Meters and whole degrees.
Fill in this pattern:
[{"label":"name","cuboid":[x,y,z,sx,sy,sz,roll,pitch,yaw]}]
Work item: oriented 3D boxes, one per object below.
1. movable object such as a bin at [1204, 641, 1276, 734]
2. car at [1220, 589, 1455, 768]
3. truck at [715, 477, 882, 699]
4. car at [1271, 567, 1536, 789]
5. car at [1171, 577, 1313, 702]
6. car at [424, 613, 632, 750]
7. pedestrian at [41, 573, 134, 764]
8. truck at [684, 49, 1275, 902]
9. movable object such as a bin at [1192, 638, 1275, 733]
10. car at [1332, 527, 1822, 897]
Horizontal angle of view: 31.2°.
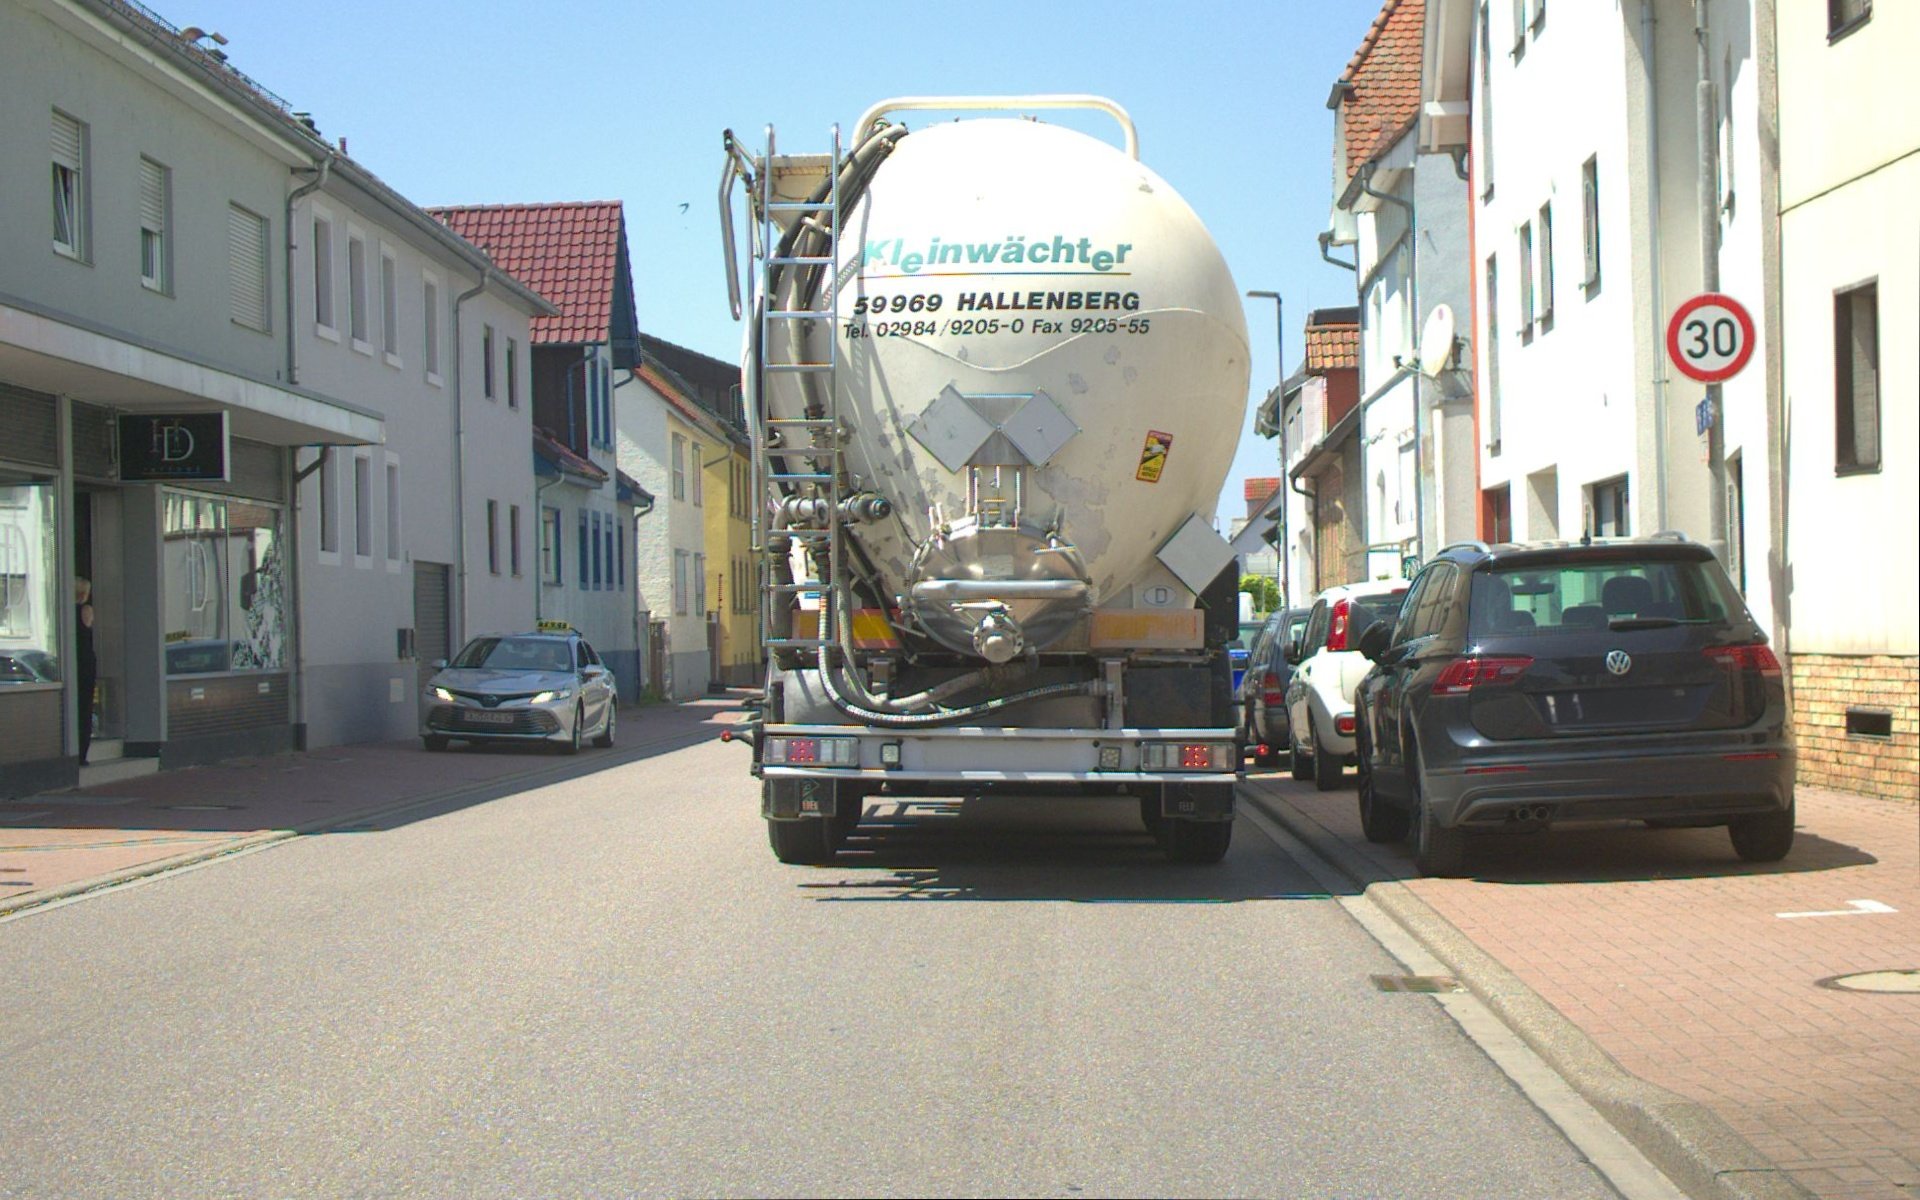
[{"label":"movable object such as a bin","cuboid":[3.259,1.014,39.998,0.656,1.031,0.683,-3,-1,18]},{"label":"car","cuboid":[3.440,0.701,32.068,1.700,1.442,4.836,-4,-1,2]},{"label":"truck","cuboid":[-3.060,-0.175,66.859,2.618,3.972,6.852,-3,-1,1]},{"label":"car","cuboid":[3.383,0.585,26.773,1.607,1.517,3.544,-4,-1,2]},{"label":"car","cuboid":[4.711,0.660,58.050,1.946,1.964,4.785,-2,0,0]},{"label":"car","cuboid":[-5.223,0.971,42.109,1.808,1.552,4.564,1,-1,2]},{"label":"pedestrian","cuboid":[-7.778,0.609,30.671,0.624,1.679,0.771,0,-1,1]},{"label":"truck","cuboid":[0.199,-0.544,20.002,2.732,3.947,8.141,0,-1,2]},{"label":"movable object such as a bin","cuboid":[3.239,1.008,40.706,0.723,1.069,0.971,-3,-1,18]},{"label":"car","cuboid":[3.086,0.506,18.109,1.802,1.608,4.548,-3,0,2]}]
